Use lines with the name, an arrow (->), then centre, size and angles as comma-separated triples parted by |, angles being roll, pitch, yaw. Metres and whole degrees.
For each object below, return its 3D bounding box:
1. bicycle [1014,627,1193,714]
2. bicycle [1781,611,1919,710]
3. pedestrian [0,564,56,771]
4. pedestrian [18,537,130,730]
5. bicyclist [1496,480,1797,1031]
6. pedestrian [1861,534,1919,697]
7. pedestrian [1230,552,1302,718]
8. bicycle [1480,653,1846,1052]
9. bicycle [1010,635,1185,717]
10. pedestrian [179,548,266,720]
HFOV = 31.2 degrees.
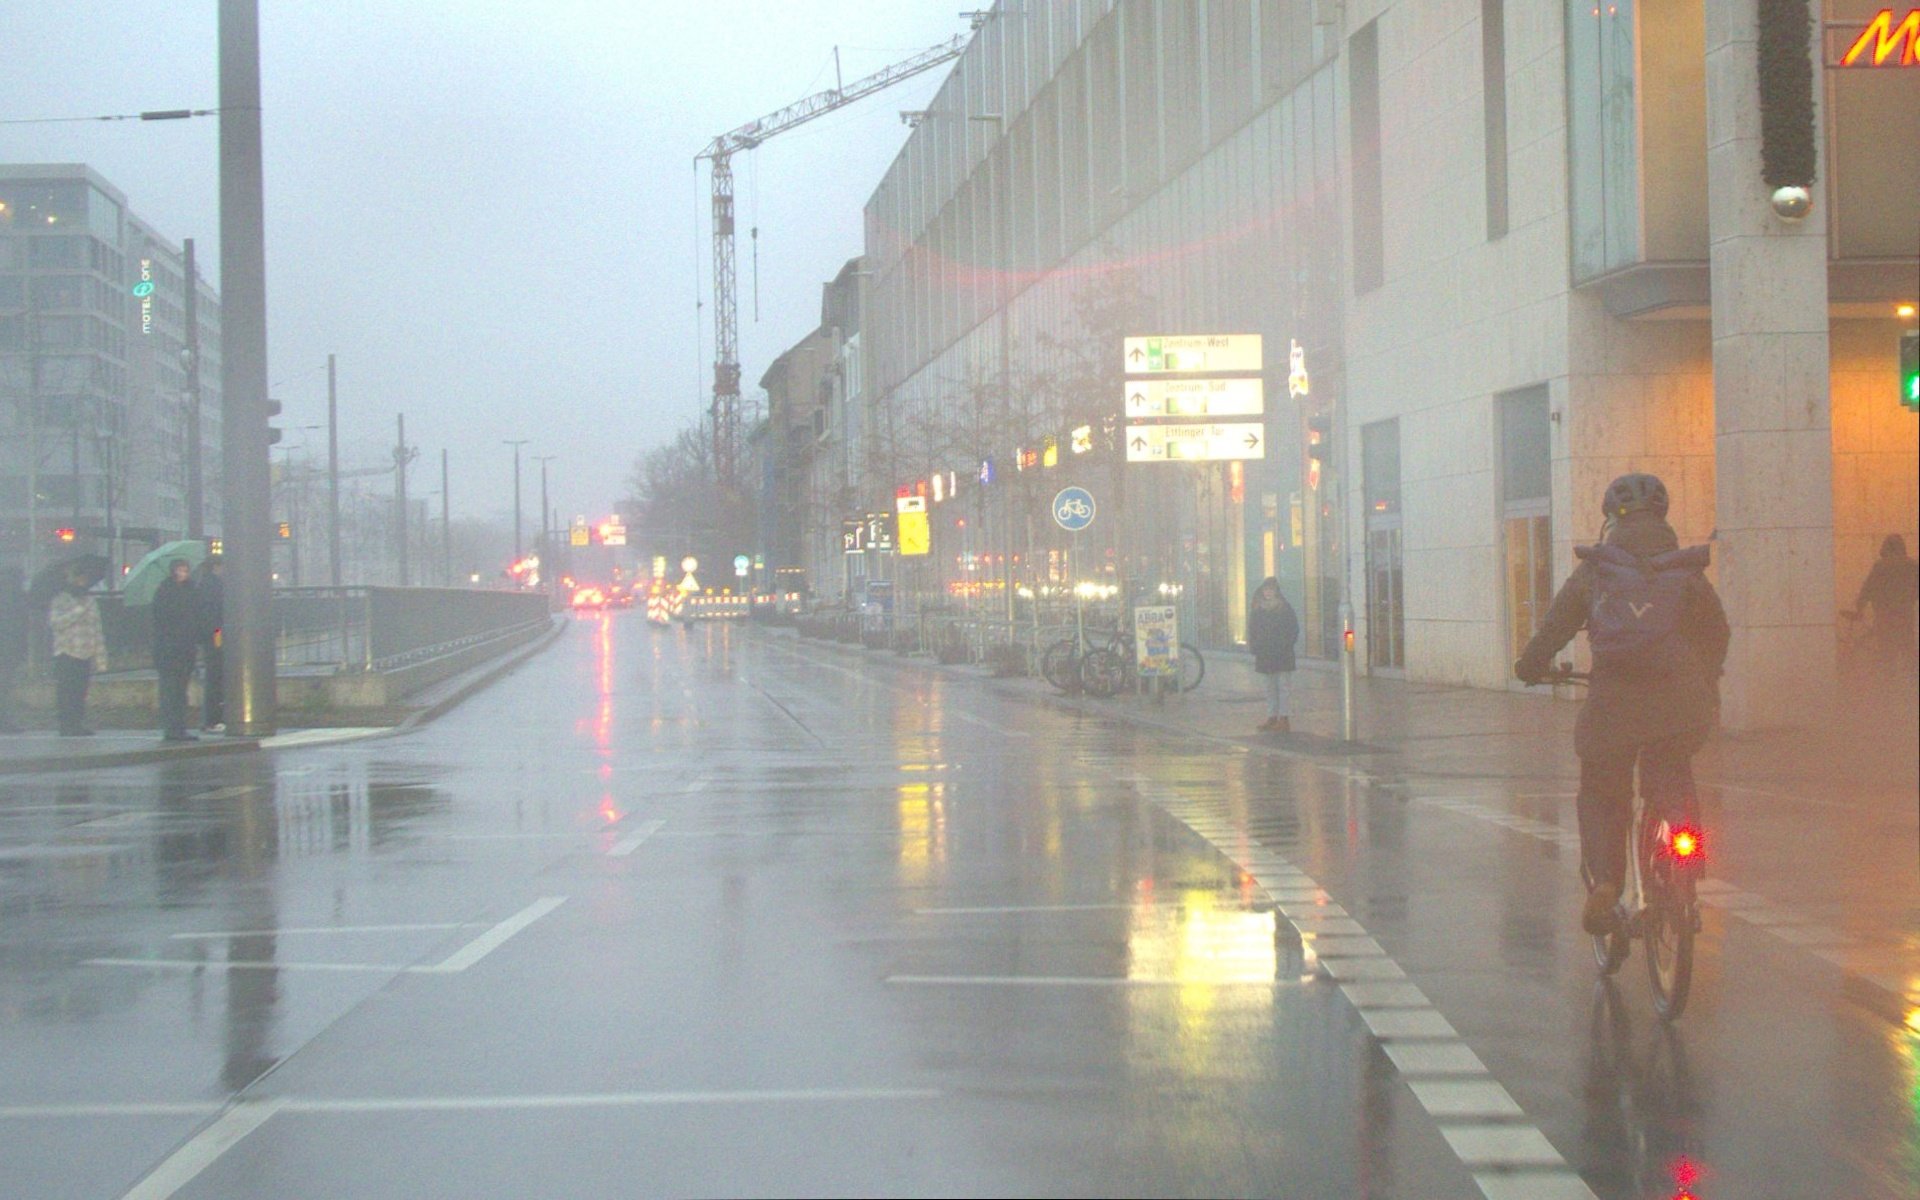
bicycle -> 2.012, 0.992, 48.443 | 2.442, 1.150, 0.674 | -1, 0, -3
bicycle -> 9.953, 0.660, 37.737 | 1.767, 1.066, 0.525 | 1, 0, -10
pedestrian -> -9.441, 0.655, 33.804 | 0.785, 2.007, 0.726 | 0, 0, 40
pedestrian -> -8.502, 0.319, 32.991 | 0.821, 1.825, 0.786 | 1, 0, -33
bicyclist -> 2.149, 0.462, 10.856 | 0.702, 1.654, 0.964 | -1, 1, -3
pedestrian -> 10.017, 0.165, 36.845 | 0.600, 1.739, 0.524 | 1, 0, 6
pedestrian -> 3.198, 0.361, 35.986 | 0.636, 1.703, 0.574 | -1, 0, -3
bicycle -> 2.162, 0.741, 10.805 | 0.708, 1.090, 1.784 | 0, 1, -3
bicycle -> 1.962, 1.082, 49.219 | 2.425, 1.095, 0.712 | -1, 0, -4
pedestrian -> -7.286, 0.329, 33.973 | 0.612, 1.680, 0.577 | 0, 0, 40
